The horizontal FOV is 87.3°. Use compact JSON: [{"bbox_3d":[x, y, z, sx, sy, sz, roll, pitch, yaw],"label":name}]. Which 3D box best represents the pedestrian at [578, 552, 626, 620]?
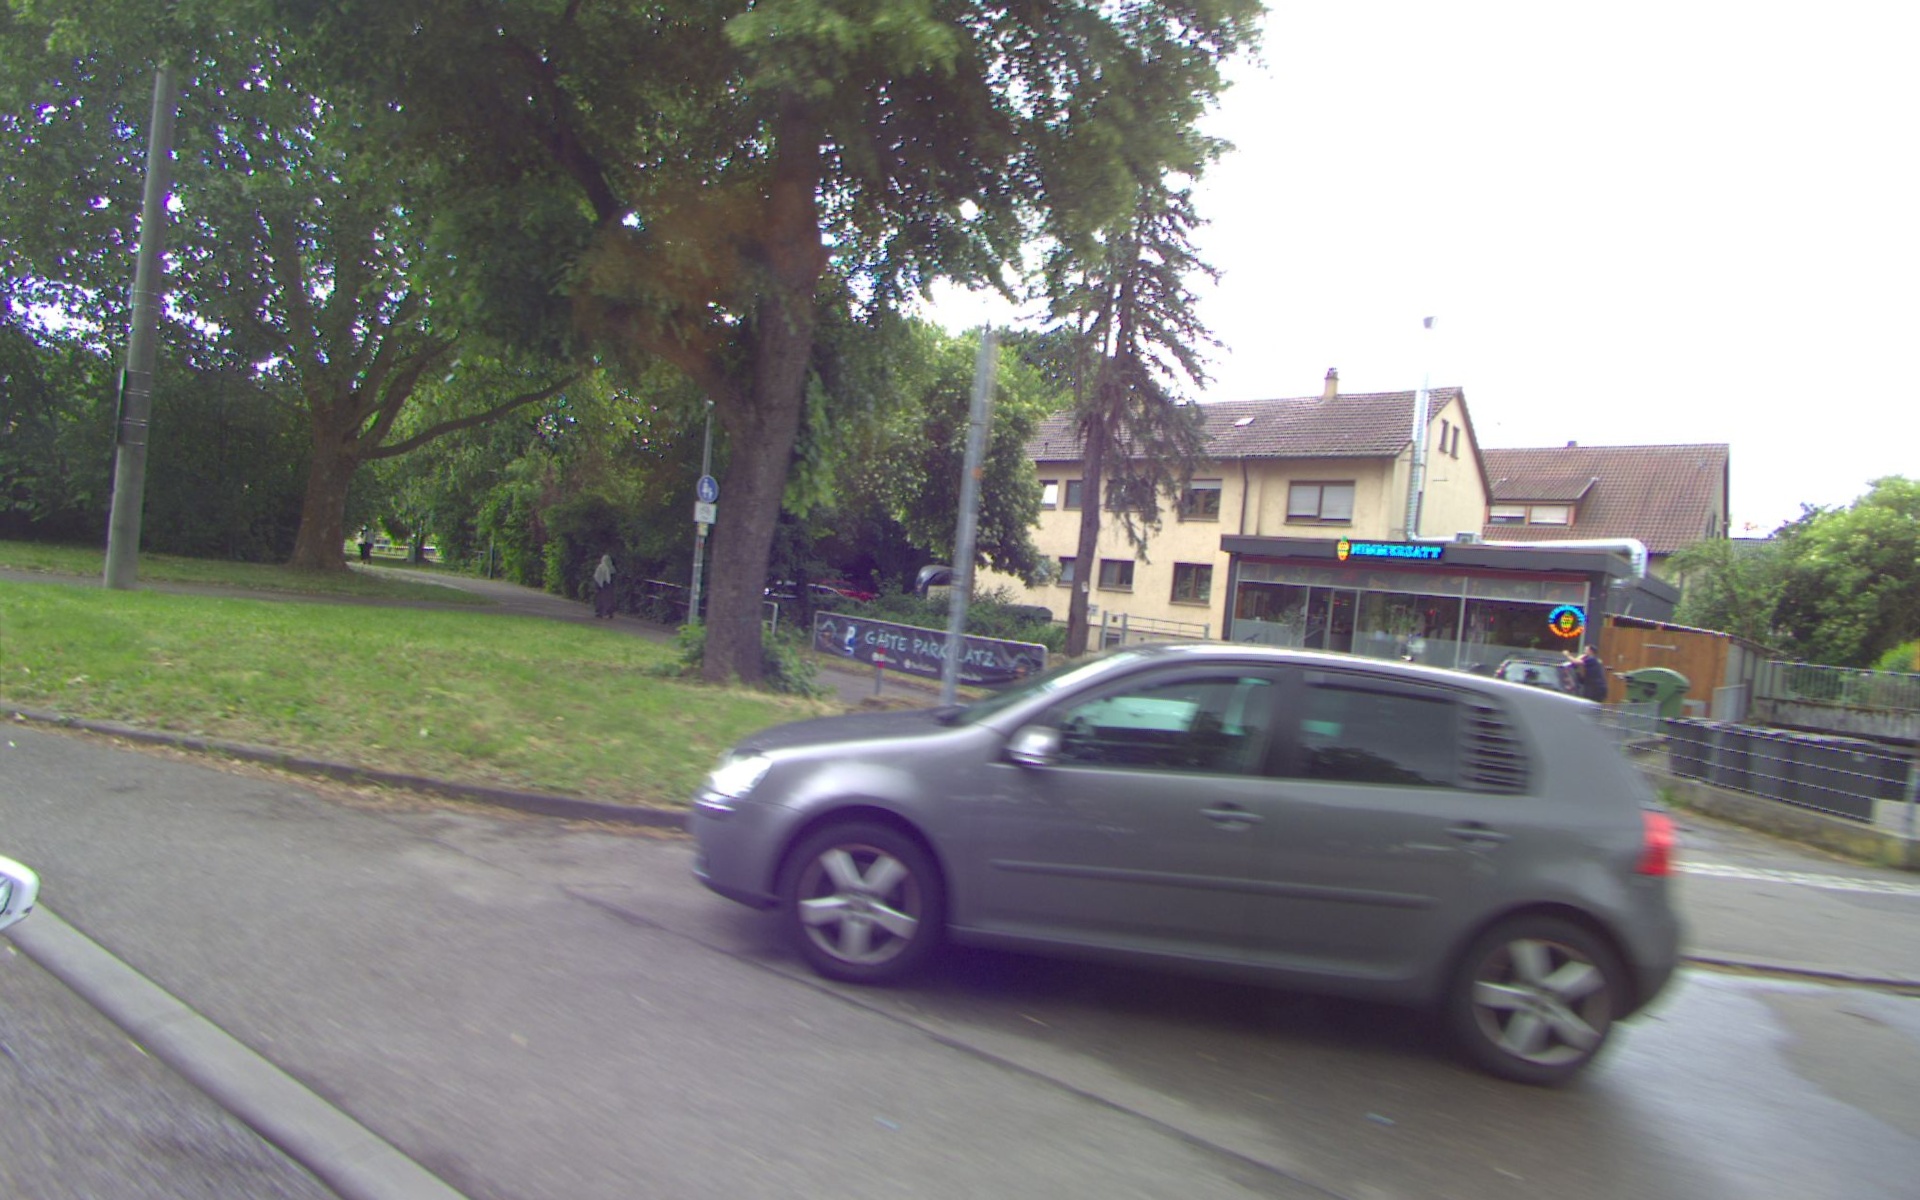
[{"bbox_3d":[-8.827,-0.341,24.801,0.731,1.571,0.683,7,2,37],"label":"pedestrian"}]

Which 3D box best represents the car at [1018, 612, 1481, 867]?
[{"bbox_3d":[2.050,0.961,8.577,1.737,1.398,4.248,6,0,-15],"label":"car"}]

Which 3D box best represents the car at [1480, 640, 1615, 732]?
[{"bbox_3d":[12.480,1.795,21.293,1.603,1.651,3.403,6,1,44],"label":"car"}]

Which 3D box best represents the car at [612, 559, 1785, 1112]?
[{"bbox_3d":[0.839,0.834,4.489,4.035,1.447,1.733,7,1,3],"label":"car"}]

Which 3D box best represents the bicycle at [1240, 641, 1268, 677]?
[{"bbox_3d":[8.545,1.702,29.290,0.405,0.887,1.966,6,1,8],"label":"bicycle"}]

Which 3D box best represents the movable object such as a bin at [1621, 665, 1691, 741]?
[{"bbox_3d":[13.910,2.034,20.093,0.980,1.362,1.215,6,1,38],"label":"movable object such as a bin"}]

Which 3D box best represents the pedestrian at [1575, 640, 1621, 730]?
[{"bbox_3d":[13.096,1.738,20.635,0.602,1.752,0.686,6,1,37],"label":"pedestrian"}]

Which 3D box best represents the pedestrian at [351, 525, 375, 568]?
[{"bbox_3d":[-22.171,-1.988,37.347,0.508,1.551,0.768,5,1,-43],"label":"pedestrian"}]
